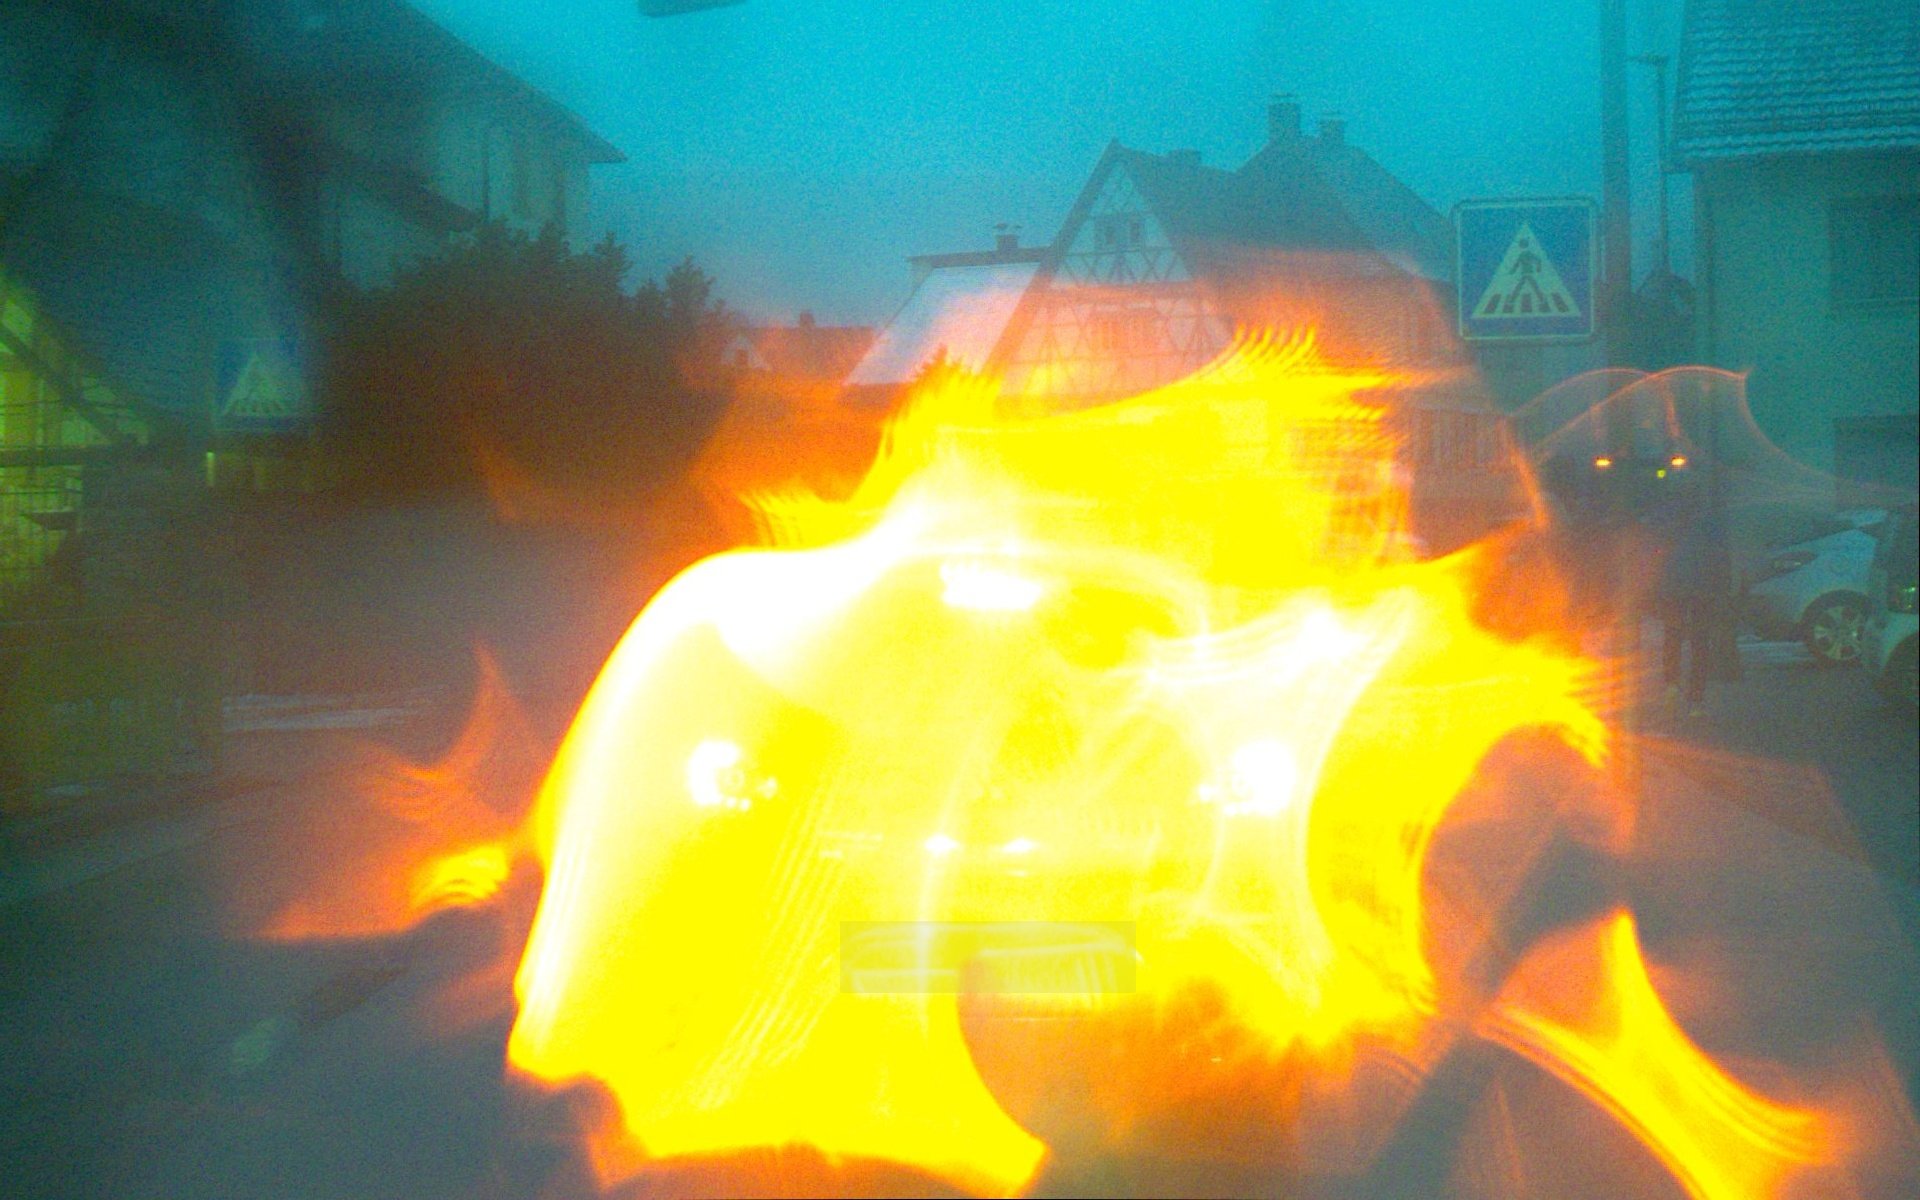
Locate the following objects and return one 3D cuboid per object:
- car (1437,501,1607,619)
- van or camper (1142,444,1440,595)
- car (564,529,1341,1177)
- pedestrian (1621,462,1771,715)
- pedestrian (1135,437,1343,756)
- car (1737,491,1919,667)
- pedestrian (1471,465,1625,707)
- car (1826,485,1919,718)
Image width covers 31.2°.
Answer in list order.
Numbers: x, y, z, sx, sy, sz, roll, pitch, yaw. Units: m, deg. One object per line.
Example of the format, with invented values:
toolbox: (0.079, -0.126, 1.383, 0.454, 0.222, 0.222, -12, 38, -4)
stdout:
car: (8.176, -0.605, 49.744, 1.849, 1.631, 4.332, 0, 1, 17)
van or camper: (7.440, -1.786, 77.340, 6.068, 2.945, 2.403, -4, 0, 25)
car: (-0.125, 0.543, 9.949, 1.795, 1.471, 4.001, 0, 1, -3)
pedestrian: (5.260, -0.092, 24.537, 0.849, 1.727, 0.971, -4, 1, 17)
pedestrian: (1.599, -0.030, 19.616, 0.880, 1.729, 0.955, -4, 1, 18)
car: (8.901, -0.245, 30.401, 3.902, 1.469, 1.750, -2, 1, 12)
pedestrian: (4.245, -0.108, 24.782, 0.867, 1.661, 0.991, -4, 1, 17)
car: (7.418, -0.050, 23.788, 2.584, 1.542, 1.551, -2, 2, 9)
